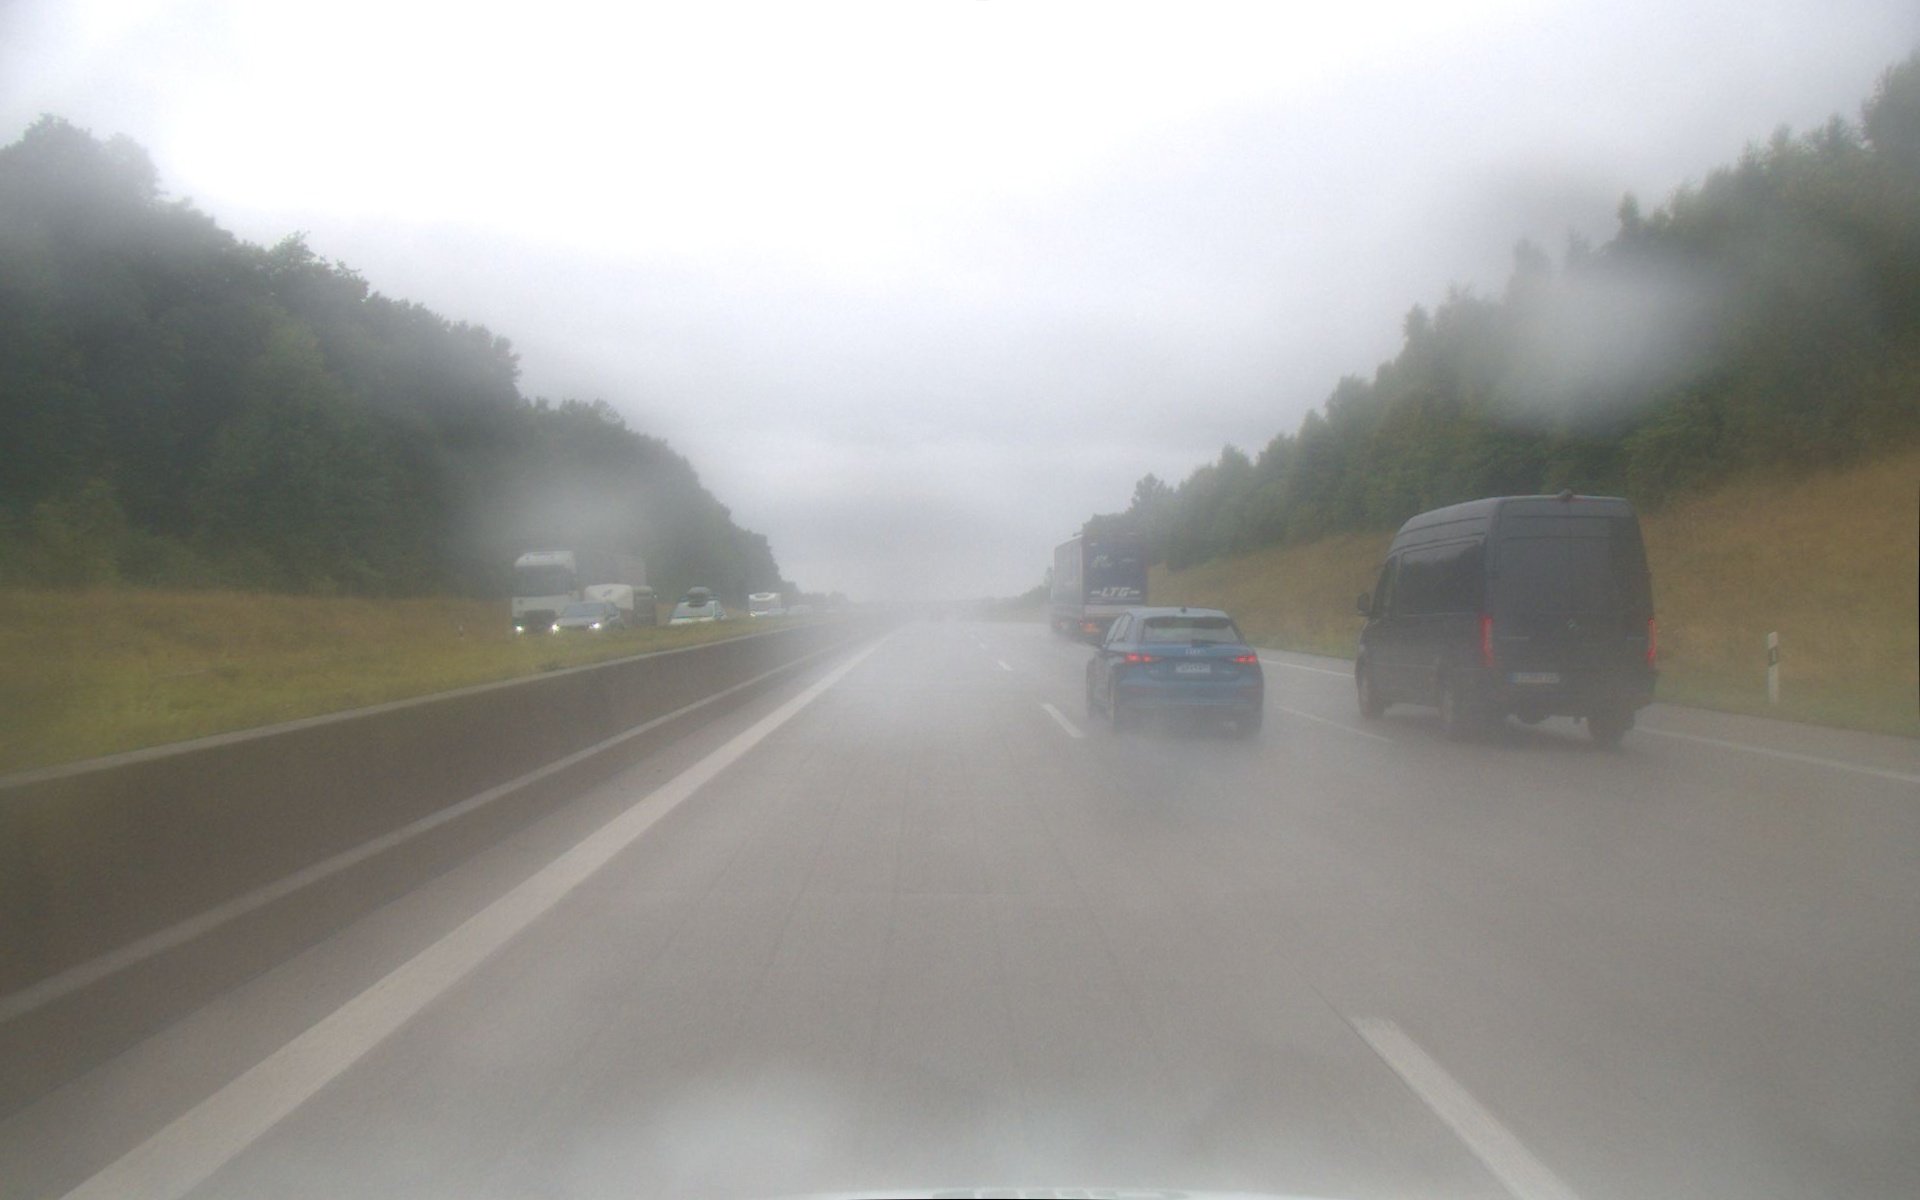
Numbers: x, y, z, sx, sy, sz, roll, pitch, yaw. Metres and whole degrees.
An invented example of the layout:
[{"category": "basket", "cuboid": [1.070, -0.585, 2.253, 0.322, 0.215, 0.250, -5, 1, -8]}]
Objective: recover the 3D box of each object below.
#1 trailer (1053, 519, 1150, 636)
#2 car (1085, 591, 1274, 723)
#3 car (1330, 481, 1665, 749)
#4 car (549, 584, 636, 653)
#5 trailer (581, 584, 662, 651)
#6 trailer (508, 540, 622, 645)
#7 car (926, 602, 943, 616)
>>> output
[{"category": "trailer", "cuboid": [5.864, -0.932, 71.136, 2.651, 4.456, 15.203, 1, 0, 0]}, {"category": "car", "cuboid": [2.687, 0.710, 21.282, 1.694, 1.484, 4.670, -1, -1, -1]}, {"category": "car", "cuboid": [6.241, 0.146, 20.231, 1.901, 2.705, 6.585, 1, 0, 0]}, {"category": "car", "cuboid": [-12.776, 0.601, 57.811, 1.953, 2.218, 5.205, -2, 0, -1]}, {"category": "trailer", "cuboid": [-12.906, 0.623, 63.338, 1.997, 2.414, 5.832, -1, 0, -1]}, {"category": "trailer", "cuboid": [-17.007, -0.332, 72.022, 2.534, 4.117, 10.371, -3, 0, -1]}, {"category": "car", "cuboid": [-2.501, 0.848, 162.142, 1.694, 1.354, 4.428, 0, 0, -1]}]
